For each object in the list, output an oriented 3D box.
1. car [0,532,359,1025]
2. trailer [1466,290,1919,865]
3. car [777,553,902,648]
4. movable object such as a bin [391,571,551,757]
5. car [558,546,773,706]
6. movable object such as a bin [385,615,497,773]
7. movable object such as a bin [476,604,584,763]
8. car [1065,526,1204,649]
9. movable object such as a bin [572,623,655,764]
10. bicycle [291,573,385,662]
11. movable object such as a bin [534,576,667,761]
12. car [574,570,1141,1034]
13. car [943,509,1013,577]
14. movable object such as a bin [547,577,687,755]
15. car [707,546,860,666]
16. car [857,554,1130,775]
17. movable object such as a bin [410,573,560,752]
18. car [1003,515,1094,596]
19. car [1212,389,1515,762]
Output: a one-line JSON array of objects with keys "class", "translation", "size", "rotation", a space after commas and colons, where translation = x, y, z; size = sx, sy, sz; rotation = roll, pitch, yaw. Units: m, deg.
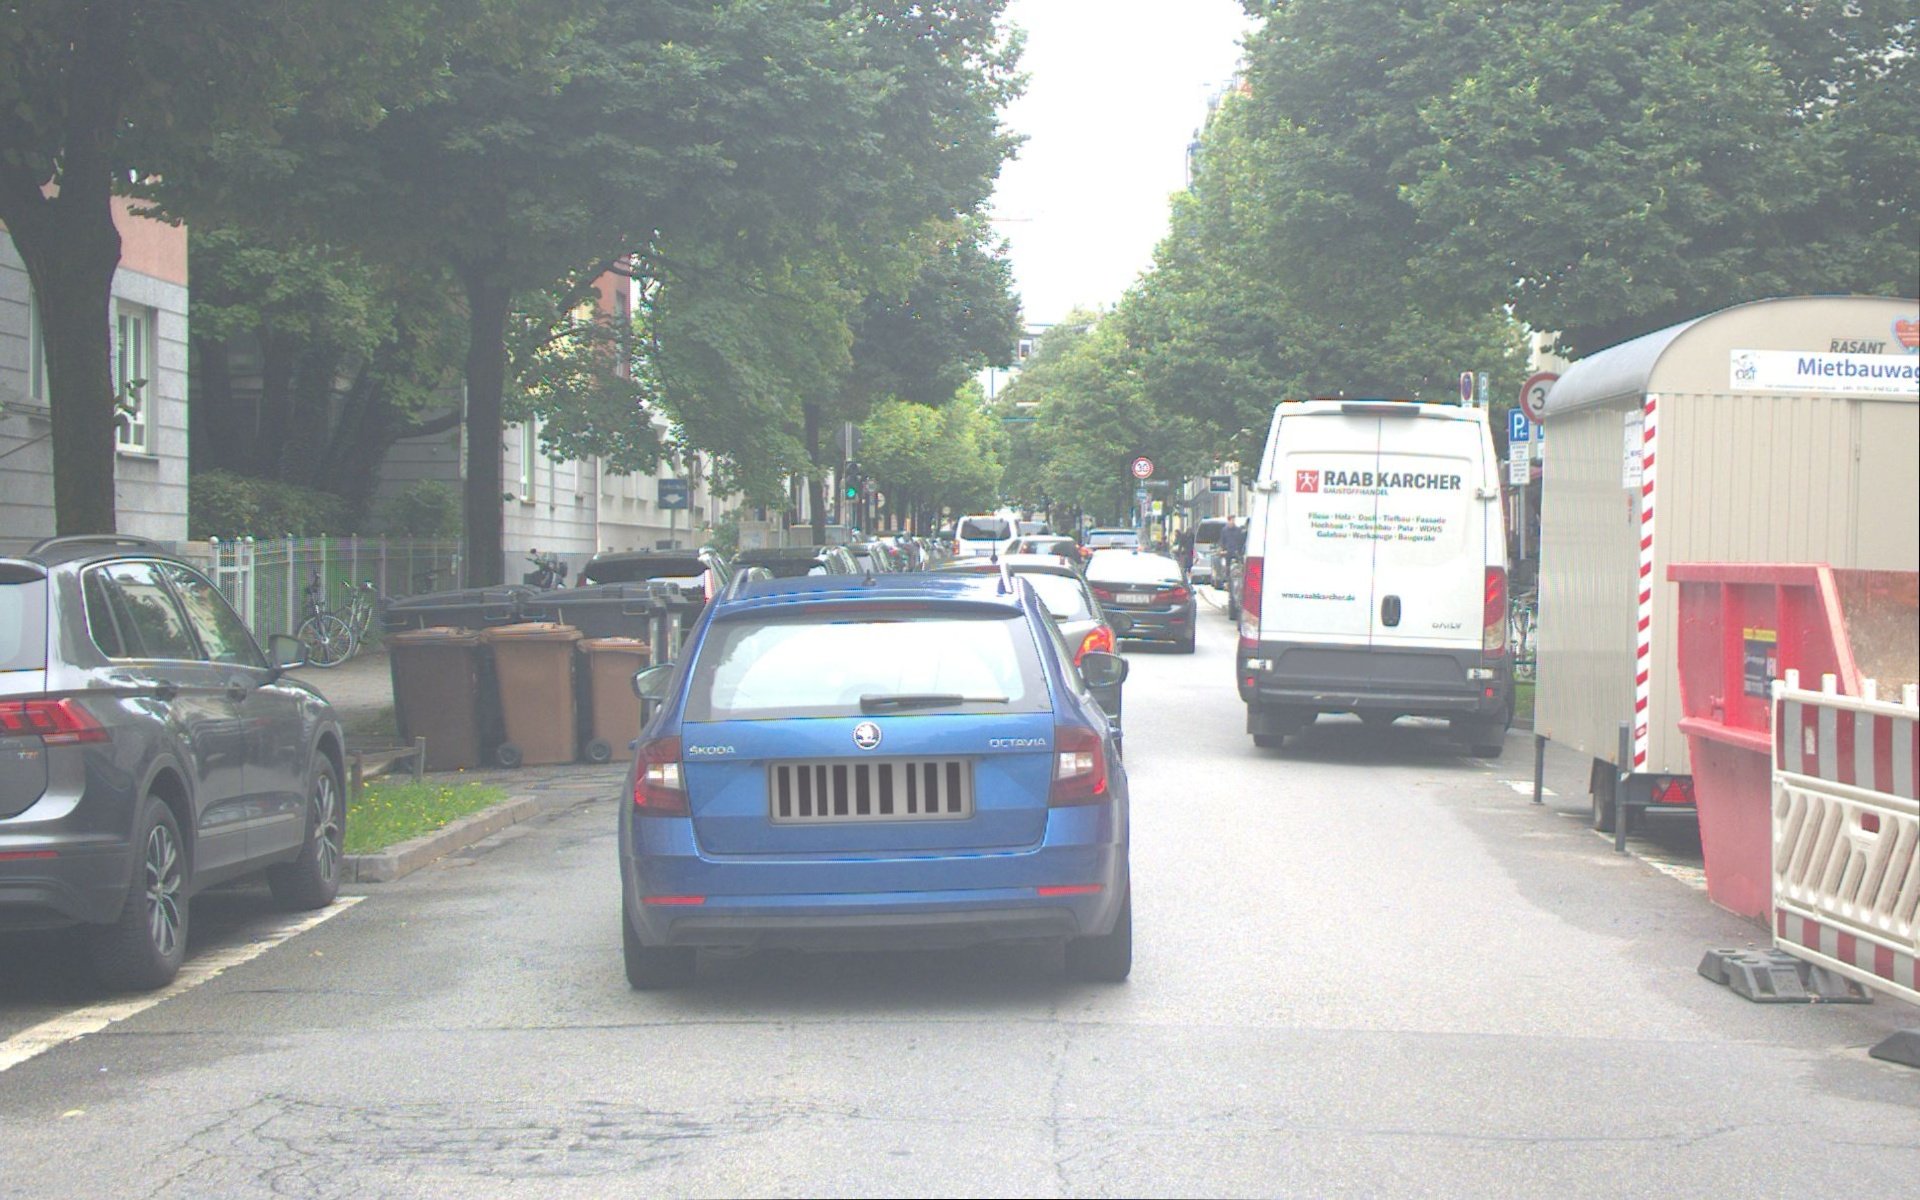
[{"class": "car", "translation": [-3.701, 0.565, 13.446], "size": [1.785, 1.623, 4.185], "rotation": [-1, 1, 3]}, {"class": "trailer", "translation": [4.725, -0.116, 20.578], "size": [2.502, 2.830, 6.901], "rotation": [2, 0, 2]}, {"class": "car", "translation": [-1.971, -0.020, 57.315], "size": [1.812, 1.473, 4.000], "rotation": [1, 1, 2]}, {"class": "movable object such as a bin", "translation": [-3.783, 0.482, 26.684], "size": [1.081, 1.372, 1.084], "rotation": [-2, 1, -2]}, {"class": "car", "translation": [-2.901, 0.214, 34.560], "size": [1.812, 1.473, 4.000], "rotation": [1, 1, 0]}, {"class": "movable object such as a bin", "translation": [-3.892, 0.698, 25.802], "size": [0.721, 1.134, 0.658], "rotation": [-2, 1, -1]}, {"class": "movable object such as a bin", "translation": [-3.225, 0.621, 25.835], "size": [0.711, 1.144, 0.636], "rotation": [-2, 1, -1]}, {"class": "car", "translation": [2.533, -0.222, 50.768], "size": [1.867, 1.690, 4.347], "rotation": [2, 1, 1]}, {"class": "movable object such as a bin", "translation": [-2.603, 0.701, 25.877], "size": [0.546, 1.017, 0.636], "rotation": [-2, 1, -1]}, {"class": "bicycle", "translation": [-7.787, 0.207, 43.112], "size": [0.635, 1.063, 2.387], "rotation": [0, 1, 3]}, {"class": "movable object such as a bin", "translation": [-2.785, 0.519, 26.736], "size": [0.918, 1.372, 1.080], "rotation": [-2, 1, -2]}, {"class": "car", "translation": [-0.252, 0.617, 13.007], "size": [1.789, 1.455, 4.314], "rotation": [0, 1, 2]}, {"class": "car", "translation": [0.523, -1.636, 98.072], "size": [1.867, 1.863, 4.347], "rotation": [2, 1, 1]}, {"class": "movable object such as a bin", "translation": [-2.766, 0.518, 27.834], "size": [1.020, 1.372, 1.104], "rotation": [-2, 1, -2]}, {"class": "car", "translation": [-2.279, 0.043, 45.277], "size": [1.812, 1.473, 4.000], "rotation": [1, 1, 0]}, {"class": "car", "translation": [0.306, 0.411, 24.195], "size": [1.741, 1.417, 3.663], "rotation": [-1, 0, 3]}, {"class": "movable object such as a bin", "translation": [-3.824, 0.491, 27.786], "size": [1.057, 1.372, 1.096], "rotation": [-2, 1, -2]}, {"class": "car", "translation": [1.932, -1.009, 76.076], "size": [1.867, 1.690, 4.347], "rotation": [2, 1, 0]}, {"class": "car", "translation": [3.290, -0.191, 27.725], "size": [2.113, 2.654, 5.498], "rotation": [2, 0, 8]}]
